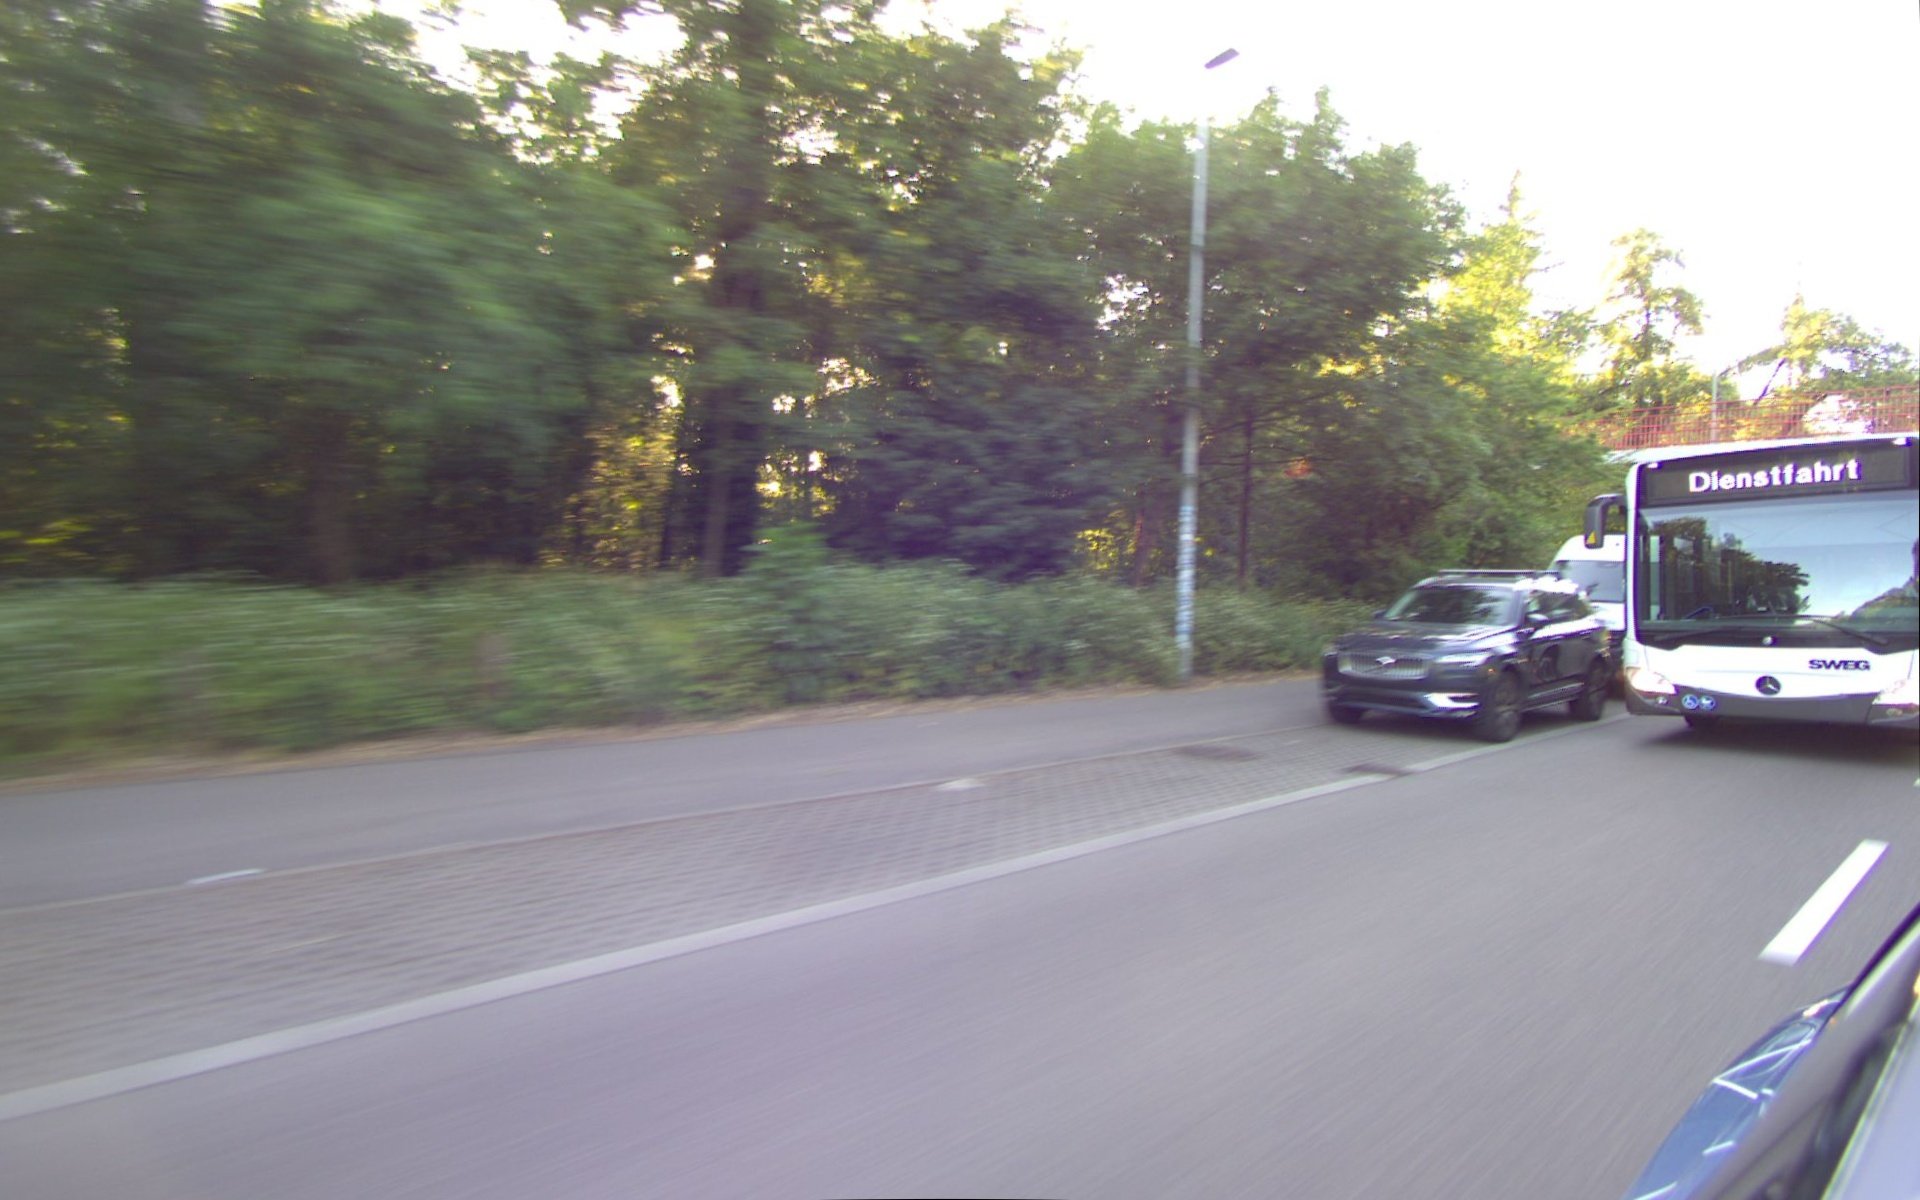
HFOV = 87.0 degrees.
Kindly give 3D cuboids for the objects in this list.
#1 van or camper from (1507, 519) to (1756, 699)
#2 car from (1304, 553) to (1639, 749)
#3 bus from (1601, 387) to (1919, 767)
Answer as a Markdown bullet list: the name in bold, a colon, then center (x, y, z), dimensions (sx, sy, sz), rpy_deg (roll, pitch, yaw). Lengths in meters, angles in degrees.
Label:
- **van or camper**: center (11.509, 0.097, 17.126), dimensions (5.878, 2.549, 2.122), rpy_deg (0, 1, -43)
- **car**: center (6.271, 0.460, 12.102), dimensions (4.985, 1.891, 1.833), rpy_deg (0, 1, -41)
- **bus**: center (12.040, -0.226, 13.505), dimensions (12.067, 3.263, 2.708), rpy_deg (0, 0, -42)
